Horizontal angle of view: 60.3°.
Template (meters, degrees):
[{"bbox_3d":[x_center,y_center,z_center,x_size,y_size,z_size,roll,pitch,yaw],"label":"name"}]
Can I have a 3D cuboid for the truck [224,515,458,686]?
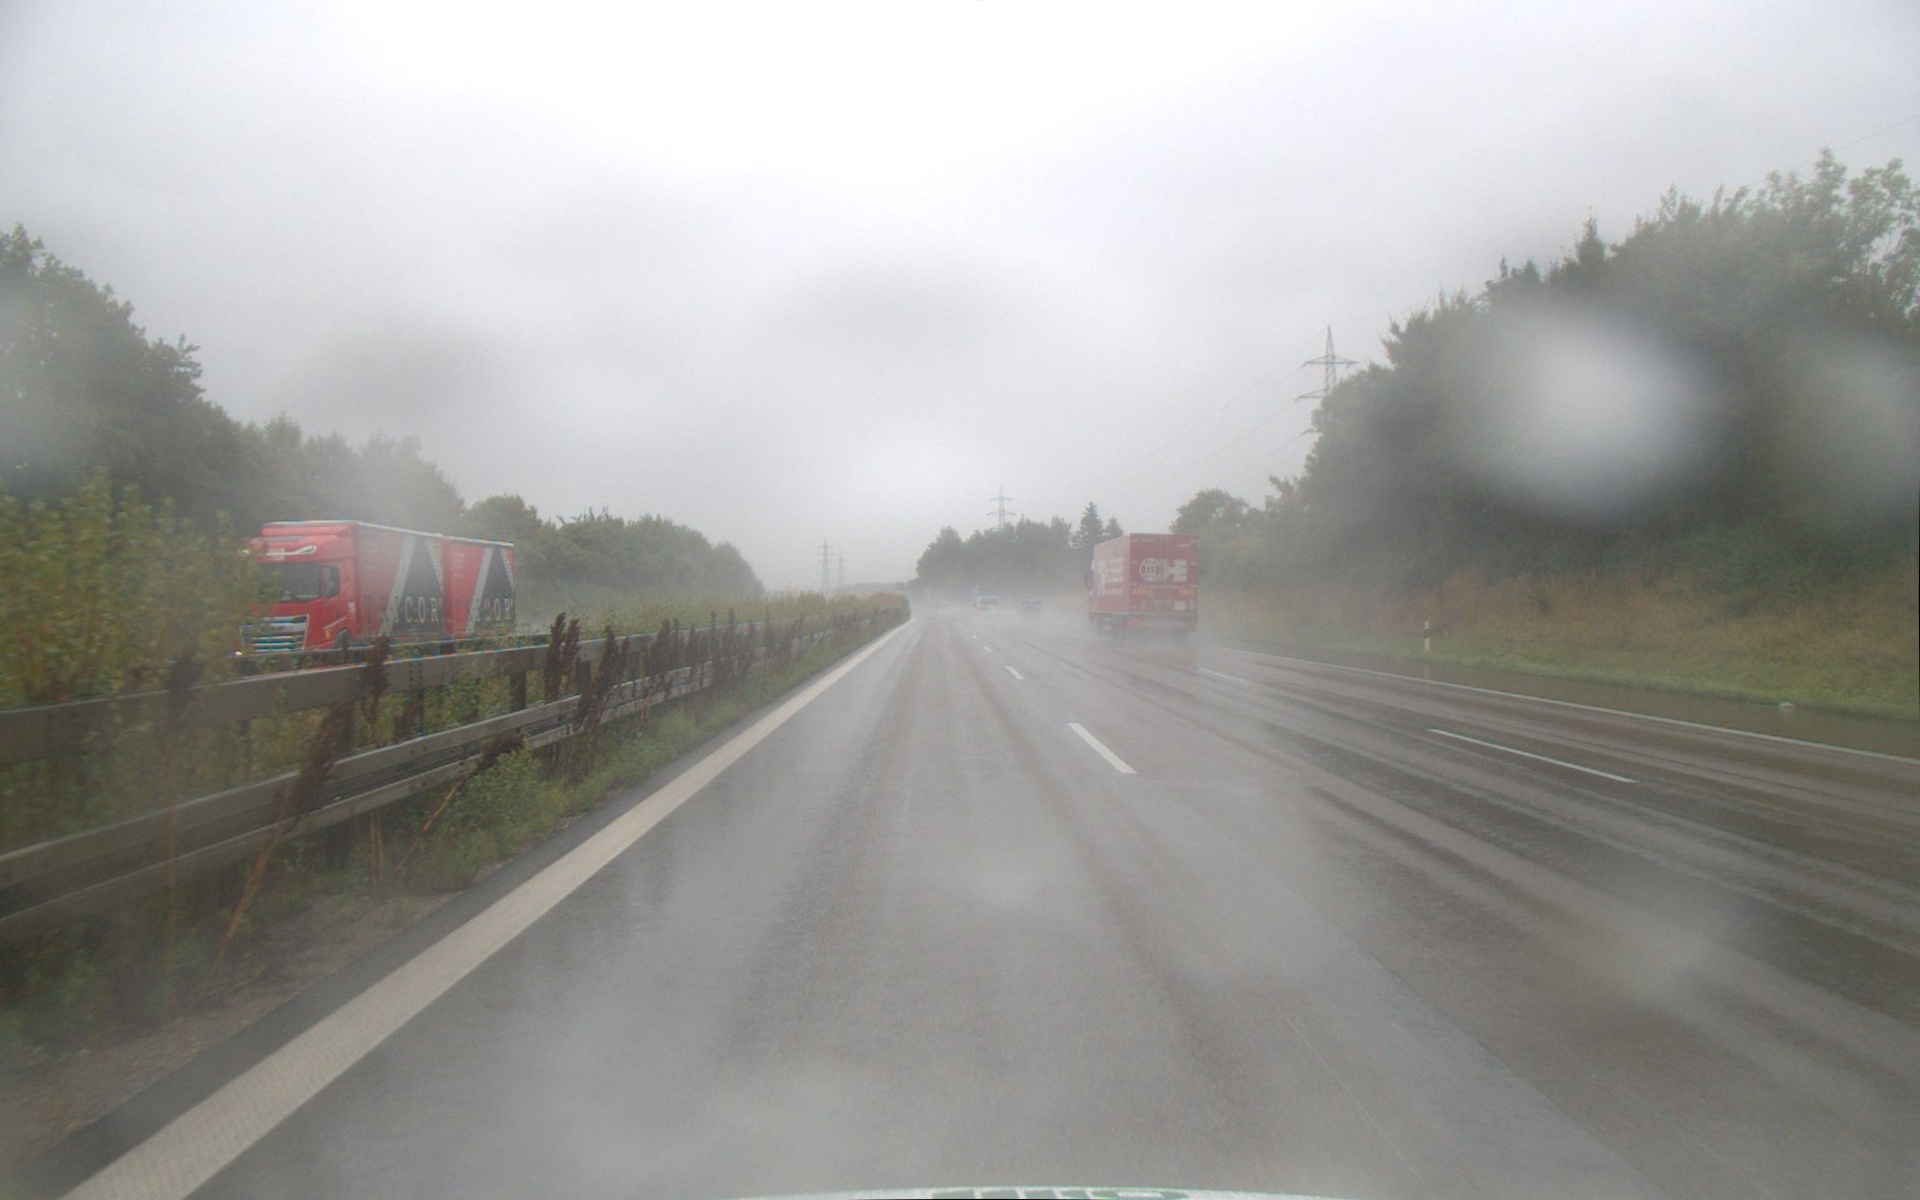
[{"bbox_3d":[-17.363,0.022,47.462,2.643,4.304,11.350,0,0,-1],"label":"truck"}]

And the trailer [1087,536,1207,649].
[{"bbox_3d":[7.391,-0.263,67.393,2.568,4.024,13.622,-3,0,-3],"label":"trailer"}]

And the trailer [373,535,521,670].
[{"bbox_3d":[-17.604,0.079,57.414,2.643,4.304,8.487,0,0,-1],"label":"trailer"}]

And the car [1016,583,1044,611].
[{"bbox_3d":[5.893,-0.252,139.533,1.771,2.196,3.996,-2,0,-4],"label":"car"}]
